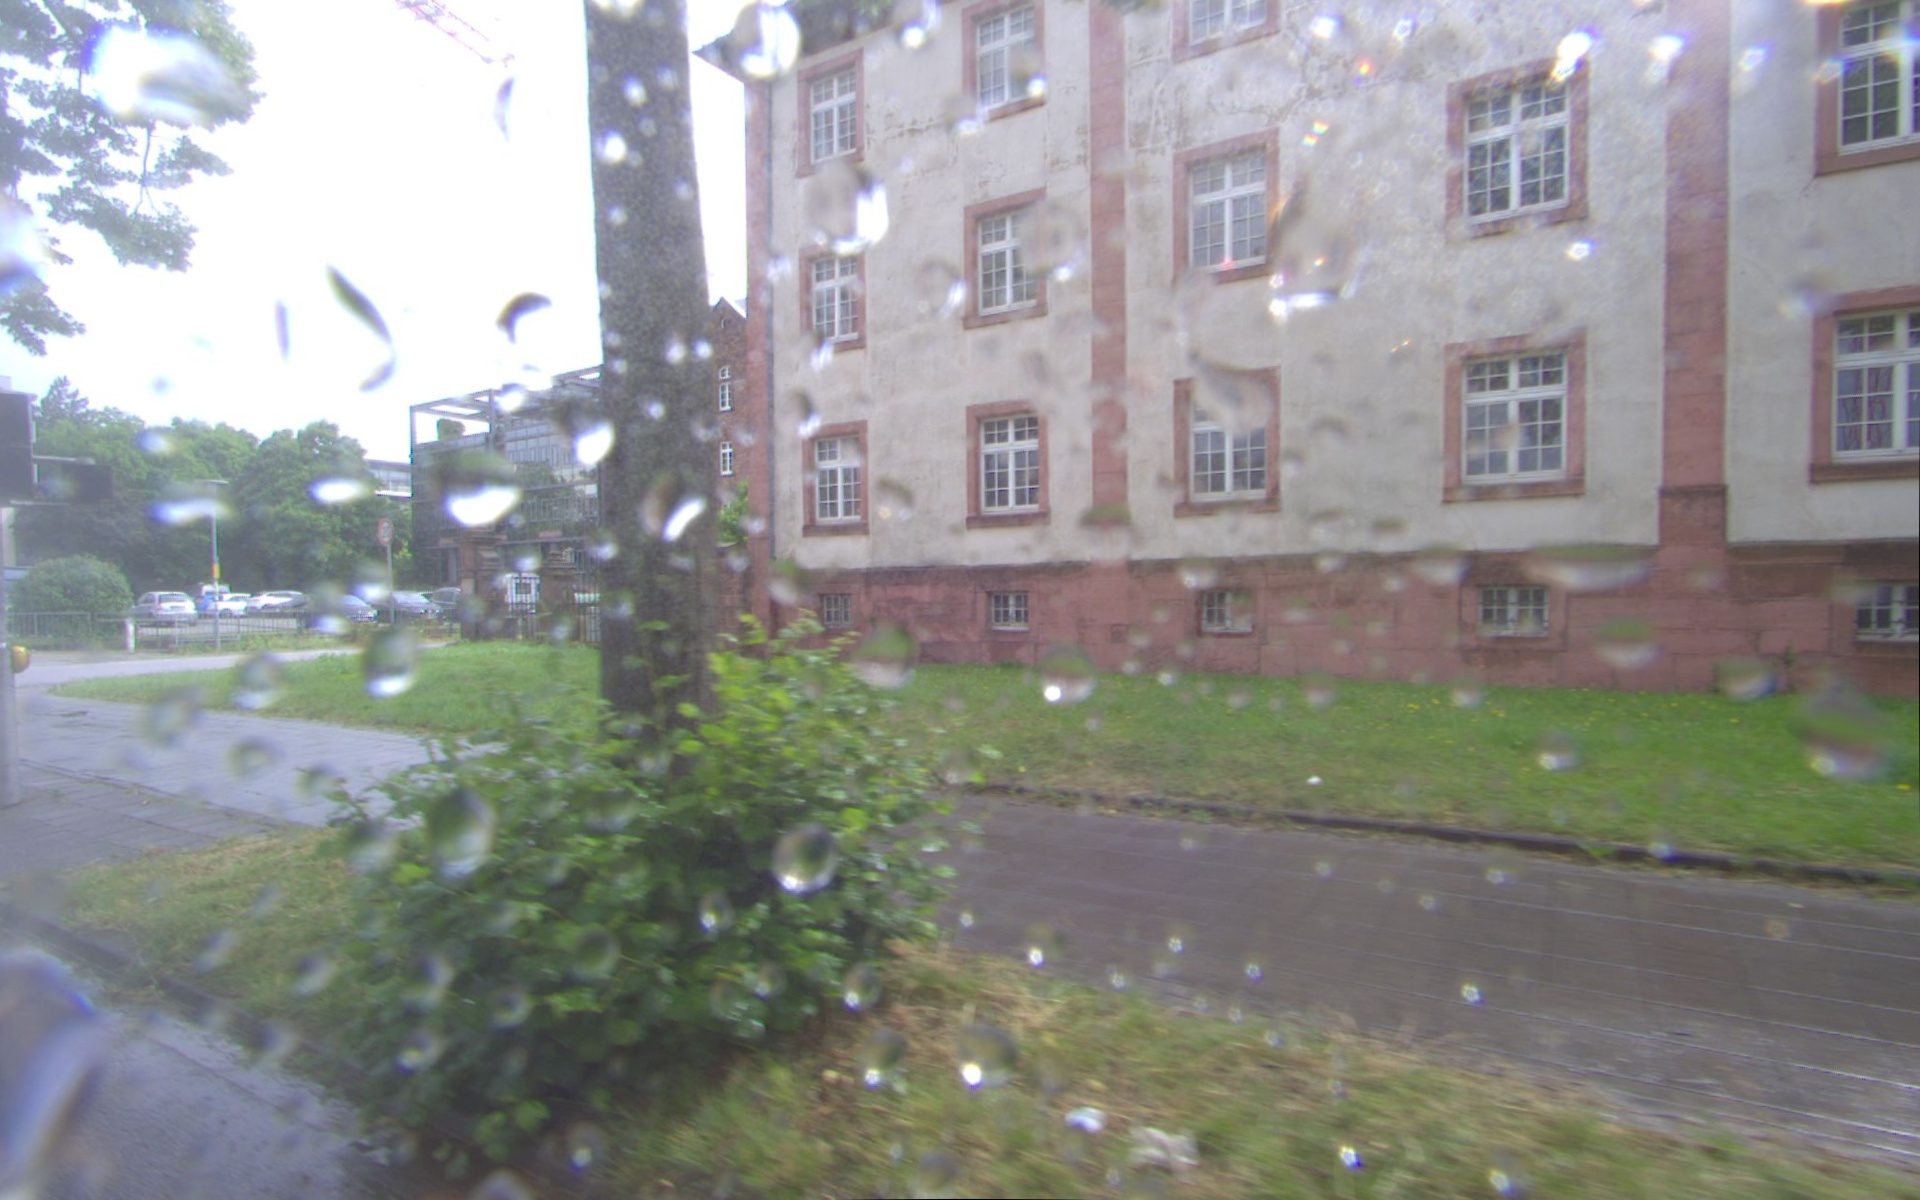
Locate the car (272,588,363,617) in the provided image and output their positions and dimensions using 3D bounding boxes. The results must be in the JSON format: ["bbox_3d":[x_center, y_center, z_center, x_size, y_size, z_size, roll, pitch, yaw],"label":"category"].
[{"bbox_3d":[-35.824,0.122,55.927,1.649,1.485,3.962,0,1,34],"label":"car"}]

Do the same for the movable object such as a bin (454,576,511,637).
[{"bbox_3d":[-11.948,0.158,25.051,1.081,1.477,0.797,1,3,34],"label":"movable object such as a bin"}]

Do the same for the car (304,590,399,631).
[{"bbox_3d":[-24.533,0.381,40.326,4.367,1.547,1.821,0,2,38],"label":"car"}]

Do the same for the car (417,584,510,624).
[{"bbox_3d":[-22.292,0.152,44.898,4.363,1.702,1.847,0,2,35],"label":"car"}]

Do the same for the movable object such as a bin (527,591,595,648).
[{"bbox_3d":[-10.815,0.500,27.176,1.371,1.477,1.102,1,3,34],"label":"movable object such as a bin"}]

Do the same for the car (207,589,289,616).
[{"bbox_3d":[-42.492,0.108,59.856,1.617,1.507,3.654,0,2,36],"label":"car"}]

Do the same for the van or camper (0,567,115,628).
[{"bbox_3d":[-40.715,-0.106,44.050,2.145,2.588,4.985,-1,0,34],"label":"van or camper"}]

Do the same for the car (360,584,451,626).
[{"bbox_3d":[-23.616,0.177,42.598,4.368,1.702,1.845,0,2,39],"label":"car"}]

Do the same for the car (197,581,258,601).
[{"bbox_3d":[-52.985,-0.660,72.450,1.489,1.416,3.214,0,2,36],"label":"car"}]

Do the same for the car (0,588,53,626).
[{"bbox_3d":[-38.480,0.269,40.706,3.369,1.468,1.606,0,2,34],"label":"car"}]

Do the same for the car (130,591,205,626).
[{"bbox_3d":[-35.376,0.354,44.680,3.668,1.506,1.643,0,2,36],"label":"car"}]

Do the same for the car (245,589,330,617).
[{"bbox_3d":[-38.137,0.160,56.814,1.617,1.507,3.654,0,2,36],"label":"car"}]

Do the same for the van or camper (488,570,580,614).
[{"bbox_3d":[-25.966,-0.441,61.143,2.226,2.518,4.778,-1,-2,32],"label":"van or camper"}]

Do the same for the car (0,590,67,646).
[{"bbox_3d":[-32.168,0.586,34.028,4.181,1.773,1.798,0,2,35],"label":"car"}]

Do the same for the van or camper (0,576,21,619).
[{"bbox_3d":[-49.534,-0.120,49.104,2.291,2.160,4.743,1,1,36],"label":"van or camper"}]

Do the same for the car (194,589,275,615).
[{"bbox_3d":[-44.398,0.123,61.316,1.617,1.507,3.654,0,2,36],"label":"car"}]
